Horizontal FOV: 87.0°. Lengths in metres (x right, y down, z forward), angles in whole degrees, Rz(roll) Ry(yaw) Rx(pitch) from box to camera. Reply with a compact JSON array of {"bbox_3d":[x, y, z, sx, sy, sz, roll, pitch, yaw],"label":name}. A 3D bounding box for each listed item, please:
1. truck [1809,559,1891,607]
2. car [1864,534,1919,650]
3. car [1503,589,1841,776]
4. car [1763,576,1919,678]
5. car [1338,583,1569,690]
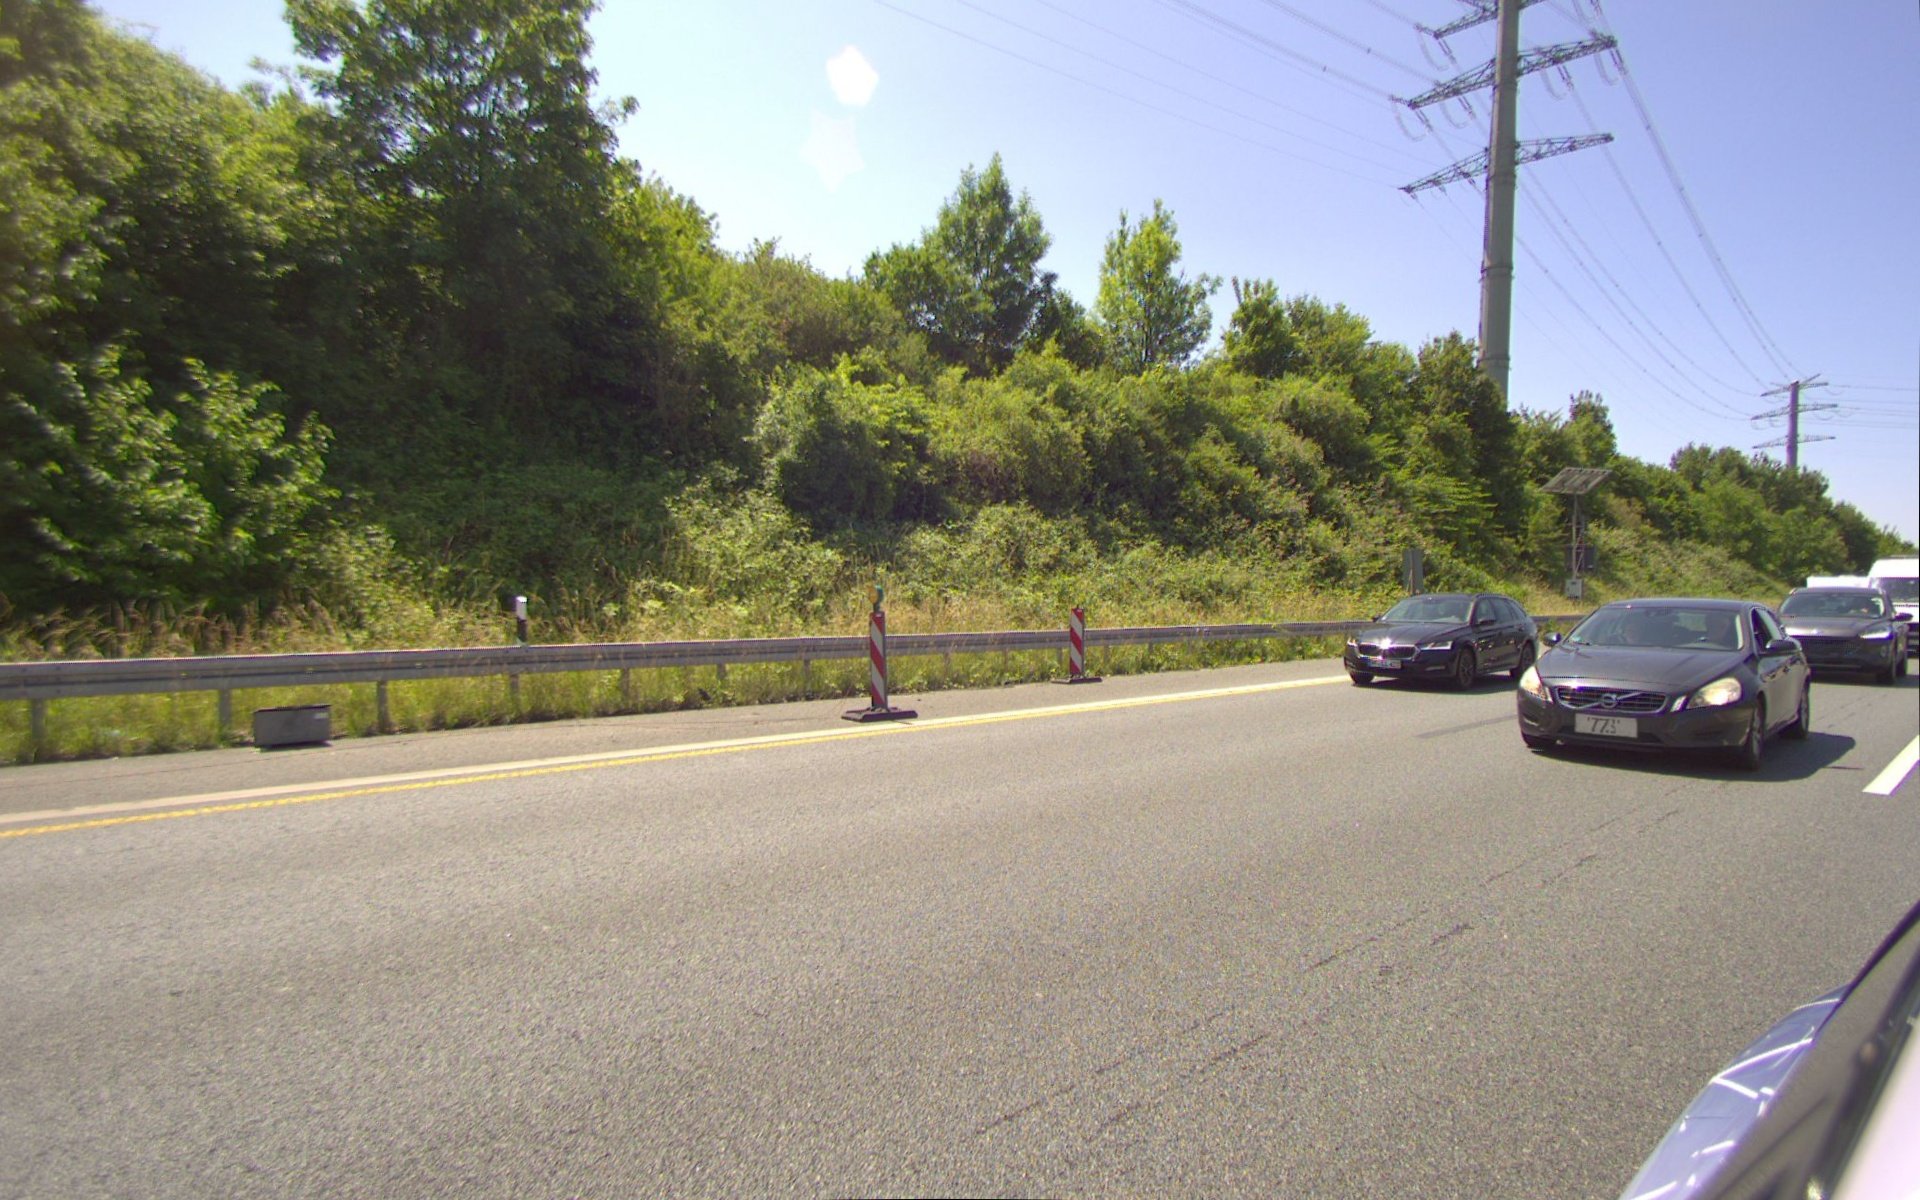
[{"bbox_3d":[42.714,-0.804,48.514,5.630,2.195,2.251,-1,0,-42],"label":"truck"},{"bbox_3d":[25.309,-0.227,26.280,6.591,2.753,2.040,-1,0,-42],"label":"car"},{"bbox_3d":[7.159,0.620,9.985,4.433,1.437,1.797,-1,0,-42],"label":"car"},{"bbox_3d":[16.132,0.410,18.289,4.148,1.631,1.891,-1,0,-42],"label":"car"},{"bbox_3d":[8.253,0.501,16.720,4.771,1.531,1.793,-1,0,-42],"label":"car"}]
